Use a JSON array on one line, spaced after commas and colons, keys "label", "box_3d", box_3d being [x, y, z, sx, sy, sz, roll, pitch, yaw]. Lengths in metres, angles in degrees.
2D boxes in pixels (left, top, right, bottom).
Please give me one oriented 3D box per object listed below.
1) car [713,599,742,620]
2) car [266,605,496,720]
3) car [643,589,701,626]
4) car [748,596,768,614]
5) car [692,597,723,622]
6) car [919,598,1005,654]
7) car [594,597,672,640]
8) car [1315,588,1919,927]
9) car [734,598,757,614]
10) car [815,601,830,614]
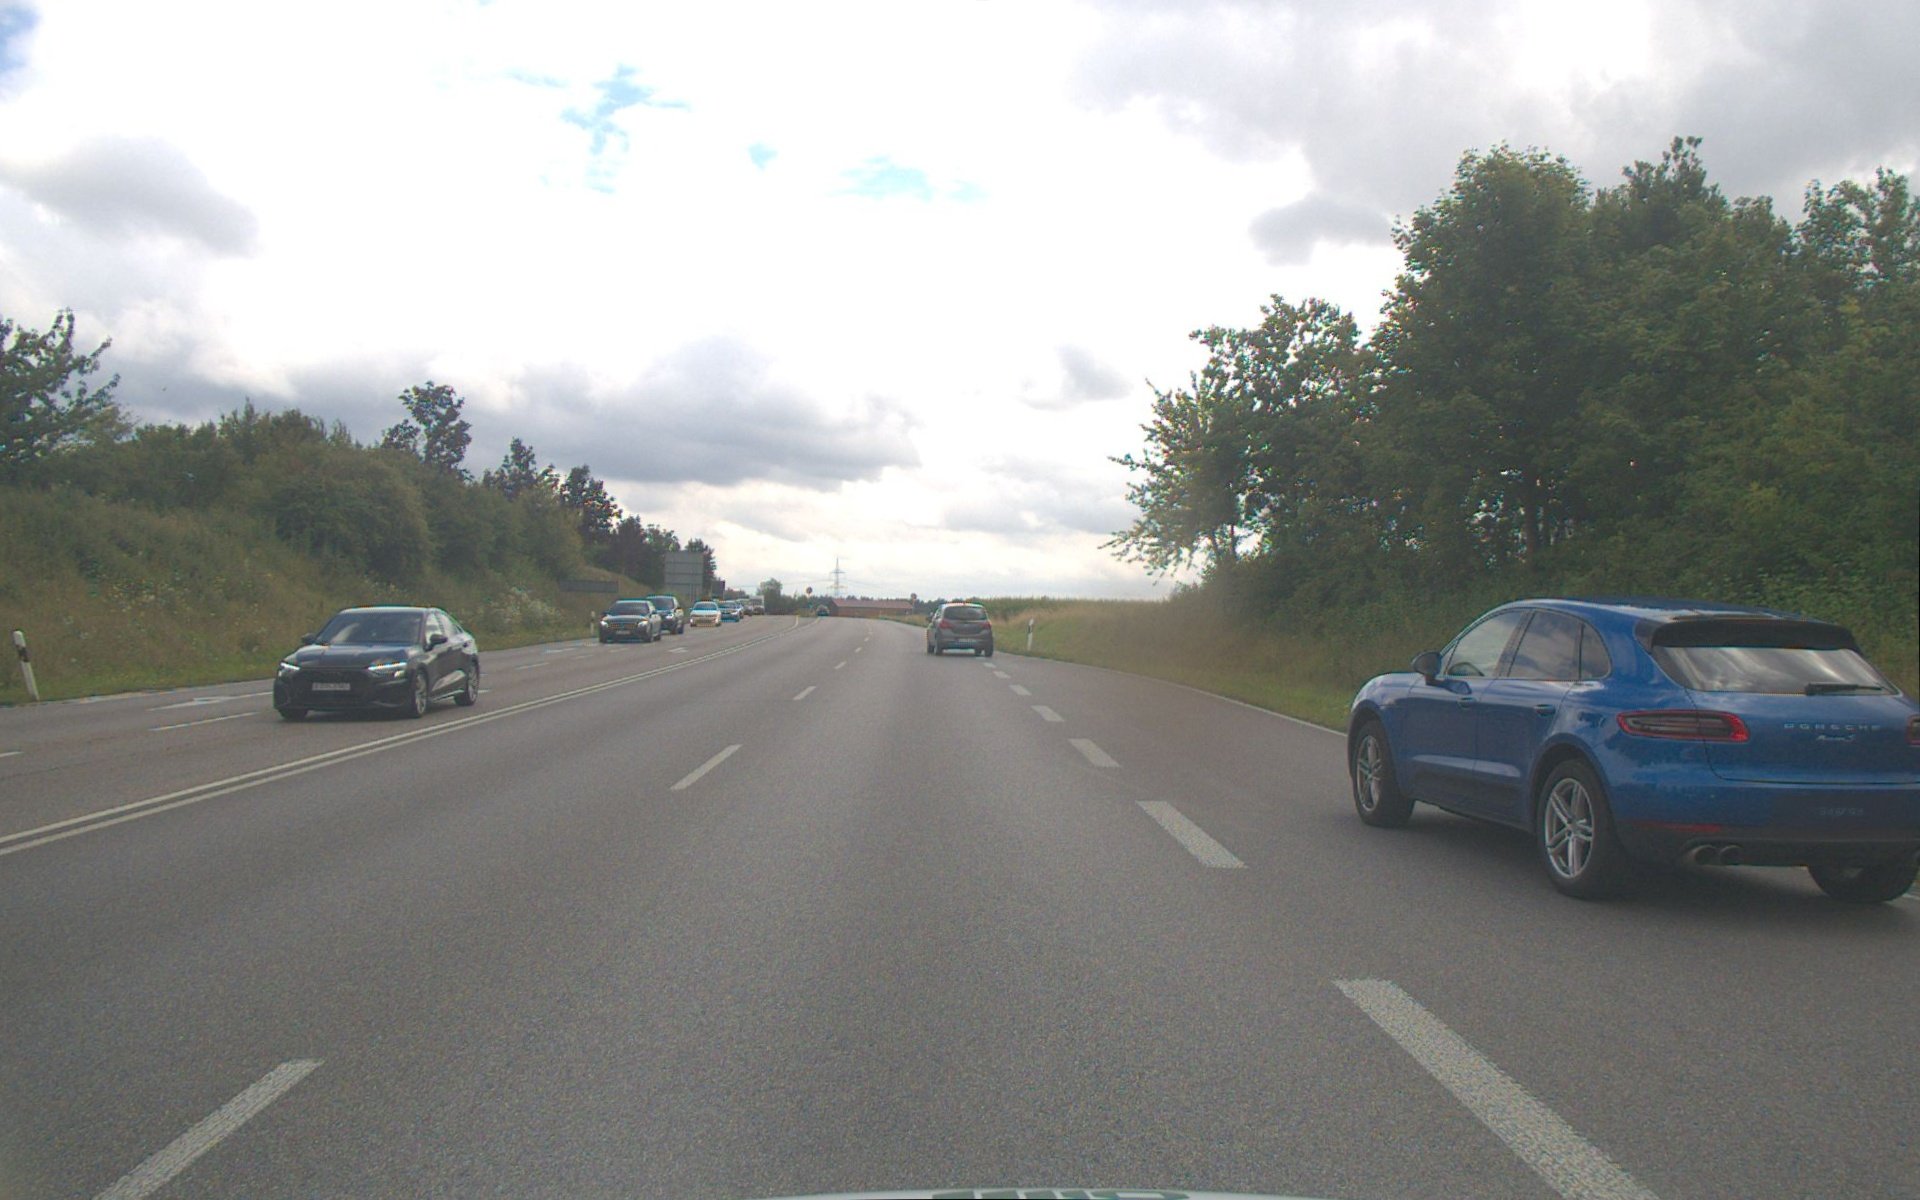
[{"label": "car", "box_3d": [-16.857, 0.668, 120.033, 1.955, 1.534, 3.994, 0, 0, -6]}, {"label": "car", "box_3d": [-7.794, 0.785, 22.720, 1.730, 1.407, 4.541, 0, 0, -3]}, {"label": "car", "box_3d": [-13.064, 0.331, 75.286, 1.954, 1.639, 4.990, 0, 0, -3]}, {"label": "car", "box_3d": [-25.782, 0.578, 211.503, 2.317, 2.250, 5.916, 0, 0, -5]}, {"label": "car", "box_3d": [-15.161, 0.572, 99.519, 1.636, 1.467, 4.141, 0, 0, -6]}, {"label": "car", "box_3d": [0.014, 0.729, 48.742, 1.956, 1.562, 3.992, 1, 0, -8]}, {"label": "car", "box_3d": [-11.855, 0.642, 60.284, 1.953, 1.520, 4.991, 0, 0, -1]}, {"label": "car", "box_3d": [4.032, 0.779, 10.365, 1.956, 1.598, 4.747, 2, 0, -8]}, {"label": "car", "box_3d": [-21.132, 0.552, 162.949, 1.954, 1.534, 3.997, 0, 0, -4]}, {"label": "car", "box_3d": [-19.514, 1.077, 234.838, 1.954, 1.745, 3.998, 0, 0, -3]}]
